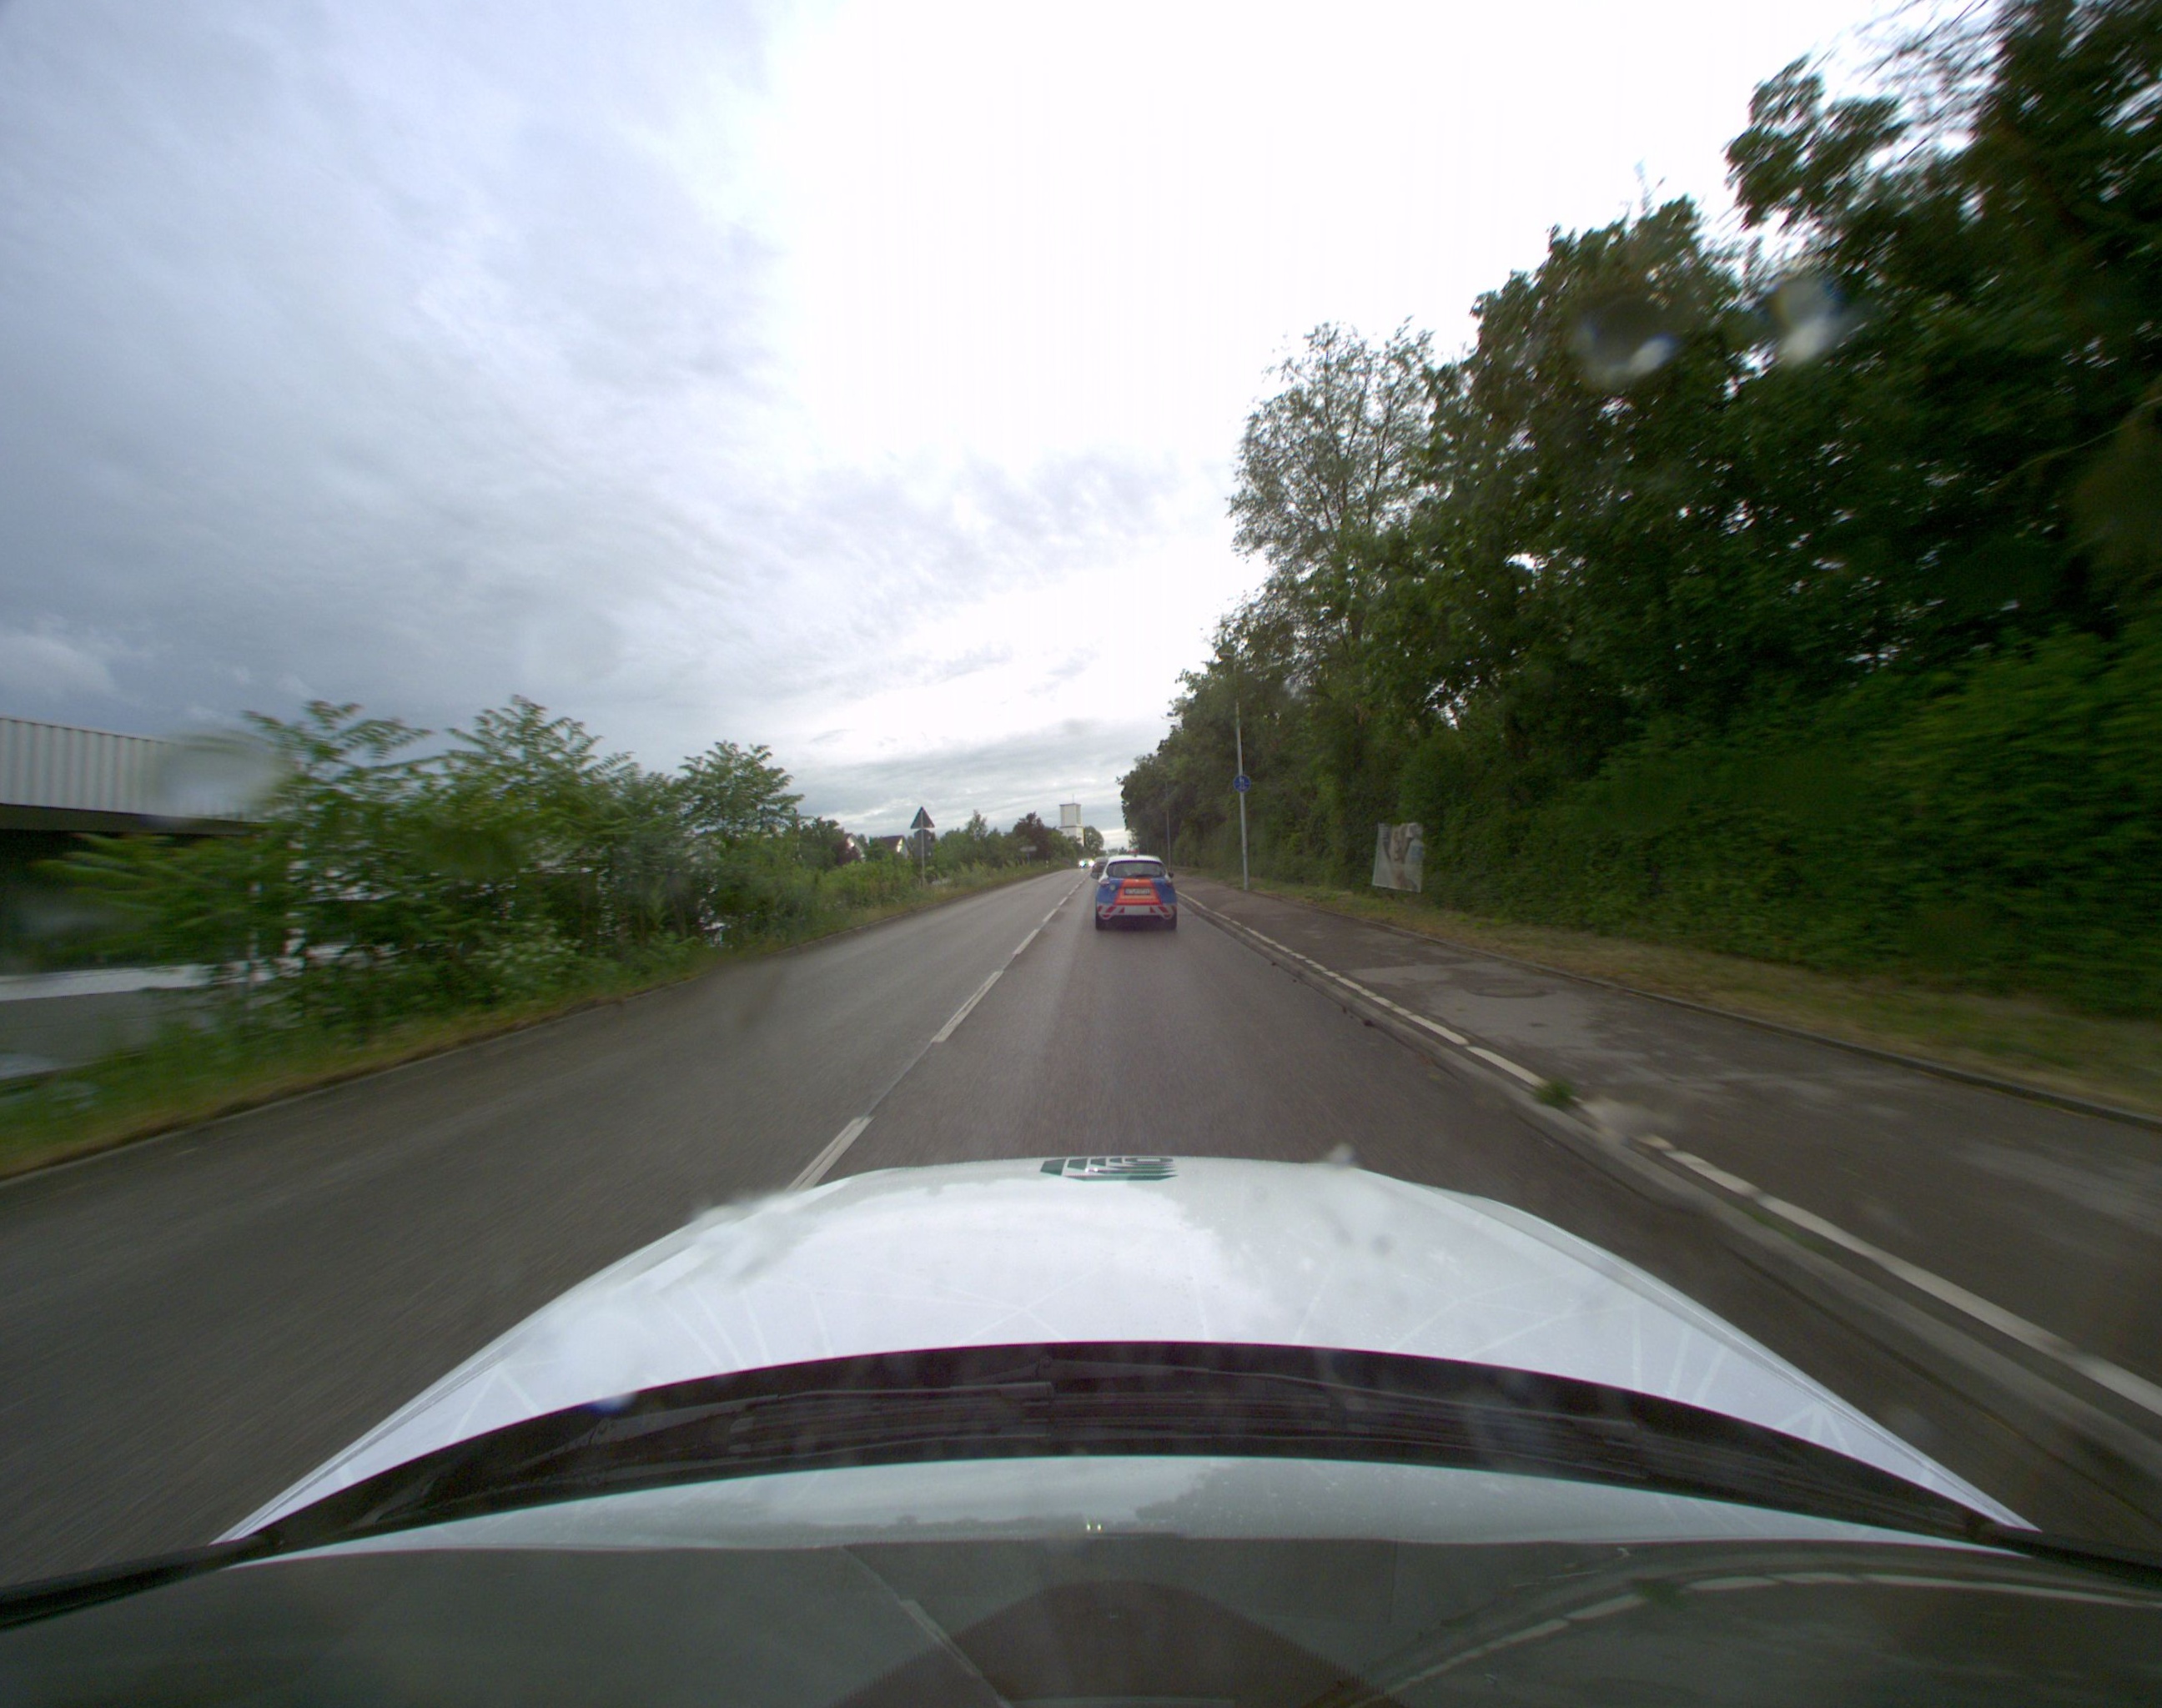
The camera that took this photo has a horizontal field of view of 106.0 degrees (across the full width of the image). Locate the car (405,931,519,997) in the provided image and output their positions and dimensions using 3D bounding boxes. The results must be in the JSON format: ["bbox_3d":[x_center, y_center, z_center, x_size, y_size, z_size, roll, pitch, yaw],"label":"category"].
[{"bbox_3d":[-21.058,3.743,27.658,4.581,1.803,1.880,-8,-1,38],"label":"car"}]

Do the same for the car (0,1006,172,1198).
[{"bbox_3d":[-10.109,2.046,6.252,4.052,1.211,1.803,-3,0,-3],"label":"car"}]

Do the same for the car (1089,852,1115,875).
[{"bbox_3d":[1.591,0.739,62.236,1.796,1.590,3.562,-3,-1,0],"label":"car"}]

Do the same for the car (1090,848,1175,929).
[{"bbox_3d":[1.089,0.745,18.157,1.651,1.593,3.569,-2,-2,2],"label":"car"}]

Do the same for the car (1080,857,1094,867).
[{"bbox_3d":[1.013,1.222,133.354,1.860,1.585,4.419,-1,0,4],"label":"car"}]
